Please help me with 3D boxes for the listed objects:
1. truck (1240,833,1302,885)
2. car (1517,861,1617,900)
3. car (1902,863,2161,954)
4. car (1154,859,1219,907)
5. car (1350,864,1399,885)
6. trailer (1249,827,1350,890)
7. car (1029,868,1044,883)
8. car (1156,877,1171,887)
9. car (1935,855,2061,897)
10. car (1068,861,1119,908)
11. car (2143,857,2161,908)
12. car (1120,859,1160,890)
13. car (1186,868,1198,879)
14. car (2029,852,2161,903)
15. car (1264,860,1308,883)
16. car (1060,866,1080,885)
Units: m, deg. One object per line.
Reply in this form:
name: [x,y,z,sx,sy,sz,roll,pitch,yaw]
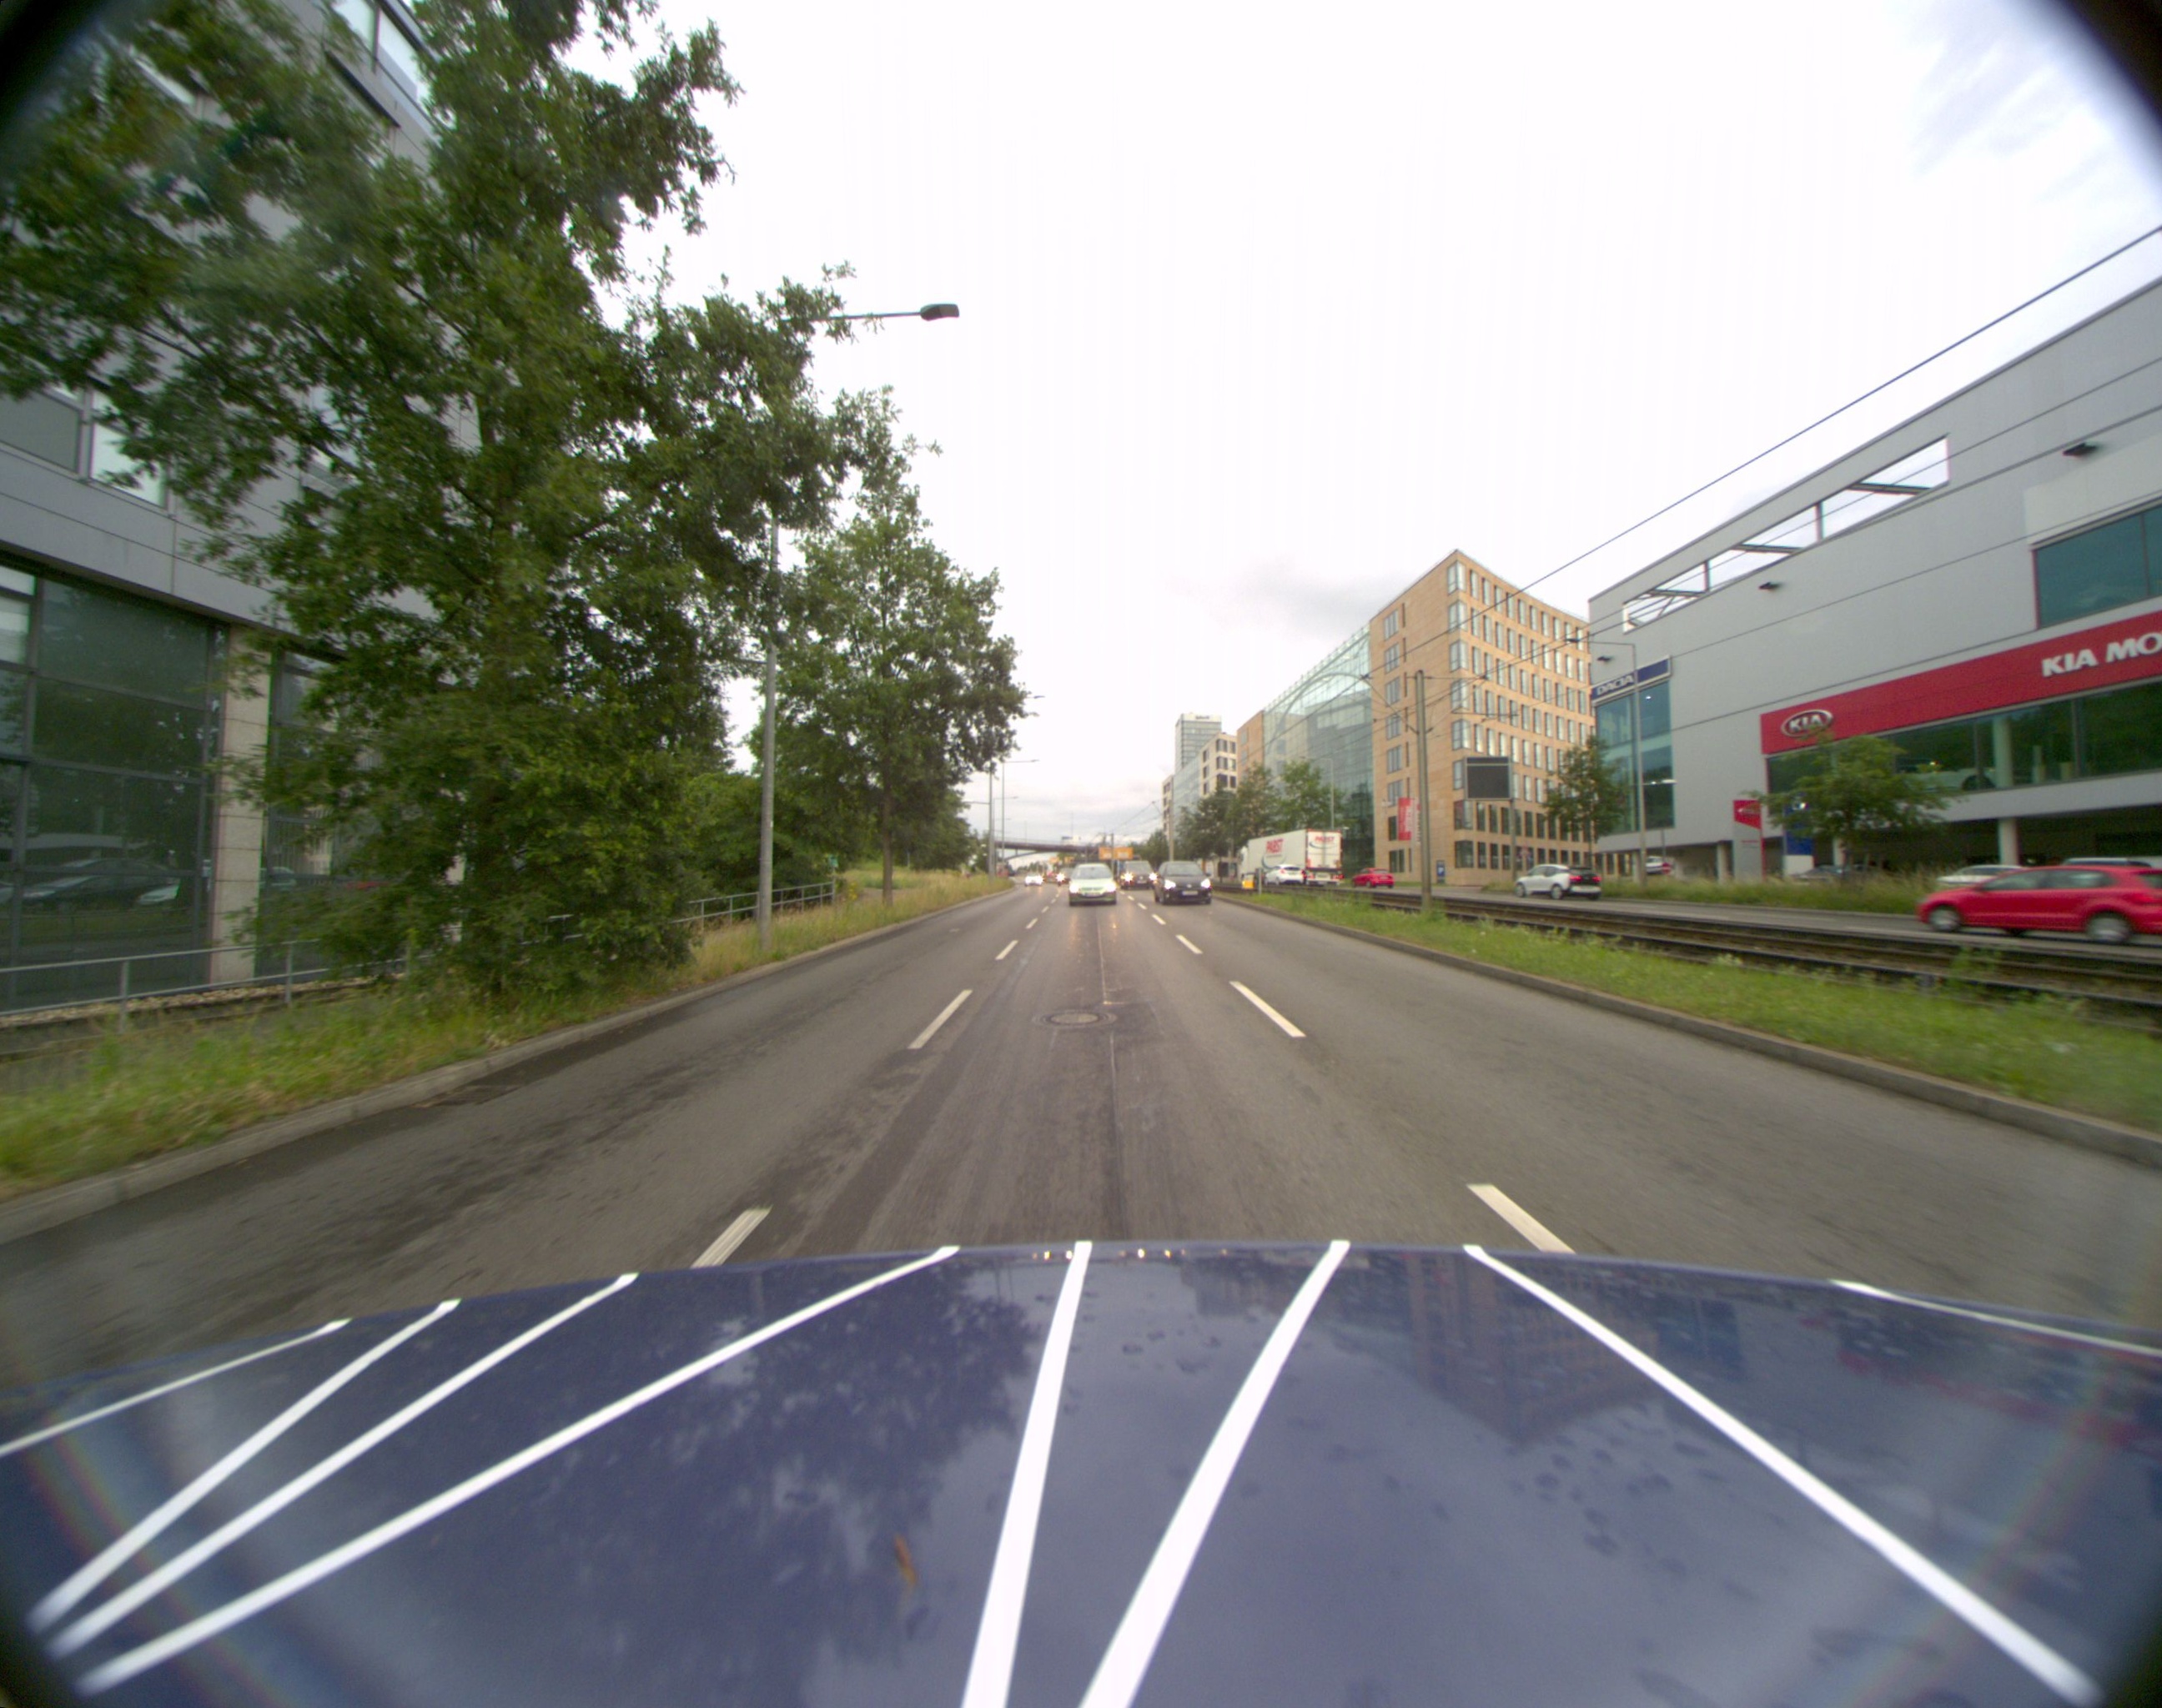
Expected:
truck: [16.335,0.449,65.799,3.144,4.219,7.026,2,0,-3]
car: [21.372,1.131,33.624,1.688,1.571,4.098,-1,0,-2]
car: [18.860,0.955,14.646,1.588,1.504,4.101,1,0,-1]
car: [3.660,0.971,26.913,1.704,1.523,3.826,-1,0,0]
car: [20.492,1.388,53.149,1.688,1.361,4.024,-1,0,-3]
trailer: [16.755,0.353,59.737,3.143,4.303,13.276,2,0,-4]
car: [-4.736,2.271,80.517,1.518,1.495,3.167,-1,0,-4]
car: [13.062,4.413,120.278,1.688,1.428,4.098,-1,0,-2]
car: [31.748,0.731,26.308,3.668,1.181,1.696,-3,0,-22]
car: [0.447,1.066,27.908,1.704,1.523,4.371,-1,0,1]
car: [31.600,0.697,20.922,3.528,1.344,1.697,-3,0,-17]
car: [3.320,1.105,43.319,1.786,1.597,4.316,-2,0,-2]
car: [16.729,2.960,114.517,1.629,1.608,4.002,-1,0,7]
car: [31.766,0.703,23.703,3.668,1.287,1.696,-3,0,-22]
car: [13.971,1.161,51.900,1.688,1.428,4.098,1,0,-3]
car: [-1.050,1.977,71.072,1.759,1.649,4.337,-1,0,-2]
